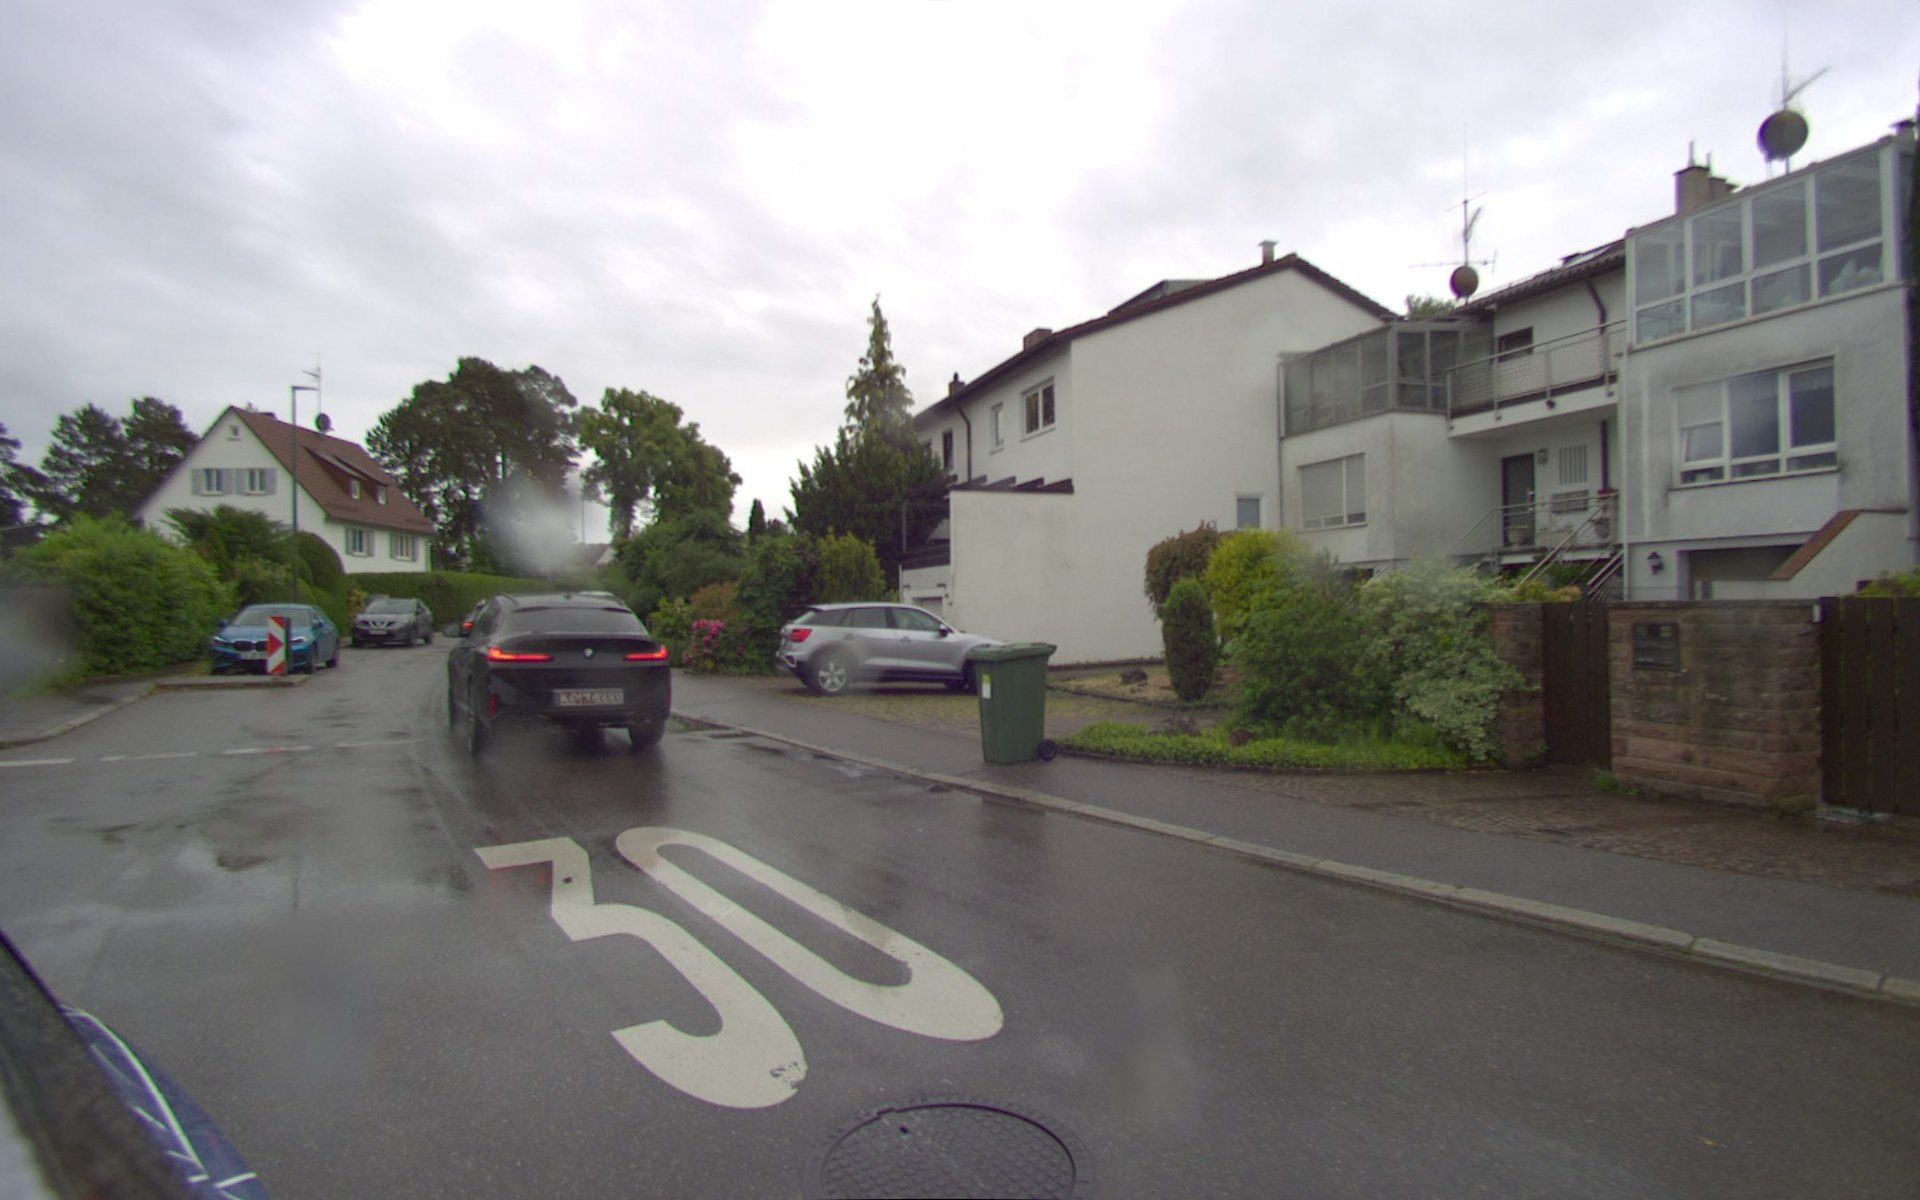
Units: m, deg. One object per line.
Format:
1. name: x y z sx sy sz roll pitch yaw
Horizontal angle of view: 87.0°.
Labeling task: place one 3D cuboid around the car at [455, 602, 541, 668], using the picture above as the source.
1. car: -12.424 0.878 27.419 1.763 1.606 4.229 0 0 -20

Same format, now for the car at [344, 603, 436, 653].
1. car: -19.113 0.888 34.108 1.875 1.553 4.229 0 0 -18

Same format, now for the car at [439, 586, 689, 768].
1. car: -4.626 0.715 11.397 1.903 1.617 4.356 1 -1 -31

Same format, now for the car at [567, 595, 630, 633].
1. car: -18.603 0.709 52.269 1.758 1.879 4.214 0 0 1

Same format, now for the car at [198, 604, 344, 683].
1. car: -14.595 0.844 21.674 1.770 1.480 4.230 0 0 -23

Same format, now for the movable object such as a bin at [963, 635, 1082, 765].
1. movable object such as a bin: 0.562 0.879 9.226 0.834 1.076 0.624 -2 -1 -28

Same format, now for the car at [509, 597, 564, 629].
1. car: -22.360 0.667 53.578 1.640 1.651 4.223 0 0 -8

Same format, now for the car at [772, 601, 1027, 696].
1. car: -1.059 0.794 17.009 3.932 1.451 1.774 1 0 -17
